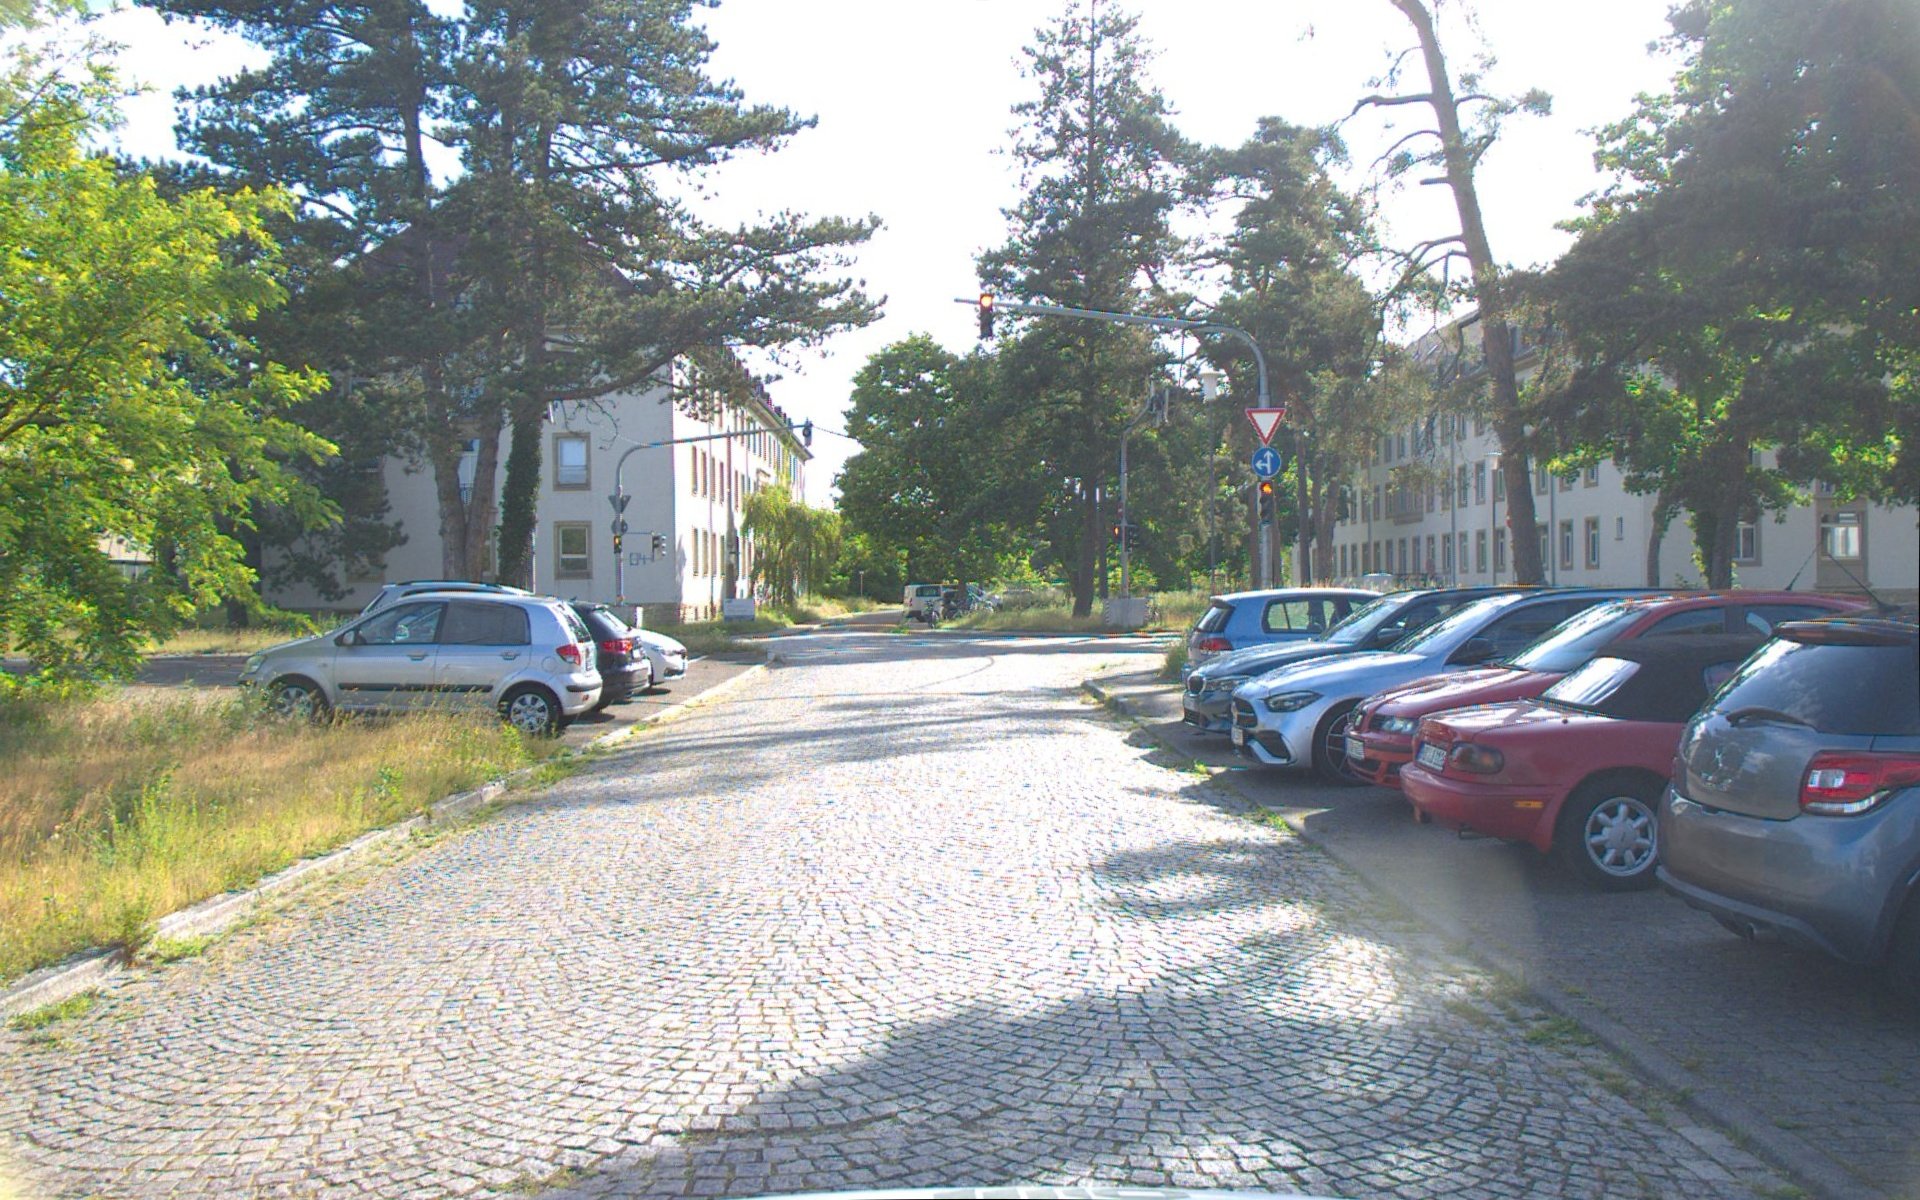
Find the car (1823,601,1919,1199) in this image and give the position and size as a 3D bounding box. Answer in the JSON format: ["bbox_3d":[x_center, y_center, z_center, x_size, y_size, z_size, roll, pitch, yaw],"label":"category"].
[{"bbox_3d":[4.156,0.688,3.532,3.632,1.474,1.856,-2,1,-1],"label":"car"}]

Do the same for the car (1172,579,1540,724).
[{"bbox_3d":[4.478,0.553,19.068,3.803,1.440,1.636,-2,1,-1],"label":"car"}]

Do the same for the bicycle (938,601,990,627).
[{"bbox_3d":[0.155,0.581,67.890,2.070,1.028,0.620,1,-1,-9],"label":"bicycle"}]

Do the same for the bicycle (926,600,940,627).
[{"bbox_3d":[-1.052,0.534,64.232,0.458,1.028,1.584,1,0,-4],"label":"bicycle"}]

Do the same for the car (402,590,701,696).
[{"bbox_3d":[-6.286,0.645,25.846,4.248,1.494,1.829,1,1,-4],"label":"car"}]

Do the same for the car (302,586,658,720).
[{"bbox_3d":[-5.850,0.626,20.557,3.908,1.506,1.802,1,1,-4],"label":"car"}]

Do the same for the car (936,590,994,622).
[{"bbox_3d":[0.245,0.315,82.336,2.728,1.492,1.669,1,0,-6],"label":"car"}]

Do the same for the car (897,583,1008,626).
[{"bbox_3d":[-0.394,0.240,85.898,5.438,2.049,1.989,1,-1,-19],"label":"car"}]

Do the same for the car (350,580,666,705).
[{"bbox_3d":[-6.322,0.573,23.509,4.000,1.621,1.884,1,1,-4],"label":"car"}]

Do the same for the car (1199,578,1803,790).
[{"bbox_3d":[4.281,0.630,13.569,4.342,1.440,1.781,-2,1,-1],"label":"car"}]

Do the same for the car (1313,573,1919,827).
[{"bbox_3d":[4.673,0.634,11.492,4.043,1.474,1.636,-2,1,-1],"label":"car"}]

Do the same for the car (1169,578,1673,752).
[{"bbox_3d":[4.421,0.596,16.287,4.467,1.440,1.636,-2,1,-1],"label":"car"}]

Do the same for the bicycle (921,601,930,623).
[{"bbox_3d":[-1.611,0.558,77.480,0.409,1.028,1.483,1,0,0],"label":"bicycle"}]

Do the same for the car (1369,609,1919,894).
[{"bbox_3d":[4.297,0.750,9.087,3.632,1.244,1.746,-2,1,-1],"label":"car"}]

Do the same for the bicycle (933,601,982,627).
[{"bbox_3d":[-0.120,0.590,70.449,1.990,1.028,0.626,1,-1,-9],"label":"bicycle"}]

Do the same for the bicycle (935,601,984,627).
[{"bbox_3d":[-0.032,0.587,69.568,1.967,1.028,0.631,1,-1,-9],"label":"bicycle"}]

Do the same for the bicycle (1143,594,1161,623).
[{"bbox_3d":[6.487,0.291,55.879,0.294,0.977,1.584,1,0,-4],"label":"bicycle"}]

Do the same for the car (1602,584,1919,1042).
[{"bbox_3d":[4.706,0.660,6.493,3.632,1.474,1.816,-2,1,-1],"label":"car"}]

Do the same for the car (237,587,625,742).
[{"bbox_3d":[-5.626,0.665,17.940,3.672,1.513,1.644,1,1,-4],"label":"car"}]
